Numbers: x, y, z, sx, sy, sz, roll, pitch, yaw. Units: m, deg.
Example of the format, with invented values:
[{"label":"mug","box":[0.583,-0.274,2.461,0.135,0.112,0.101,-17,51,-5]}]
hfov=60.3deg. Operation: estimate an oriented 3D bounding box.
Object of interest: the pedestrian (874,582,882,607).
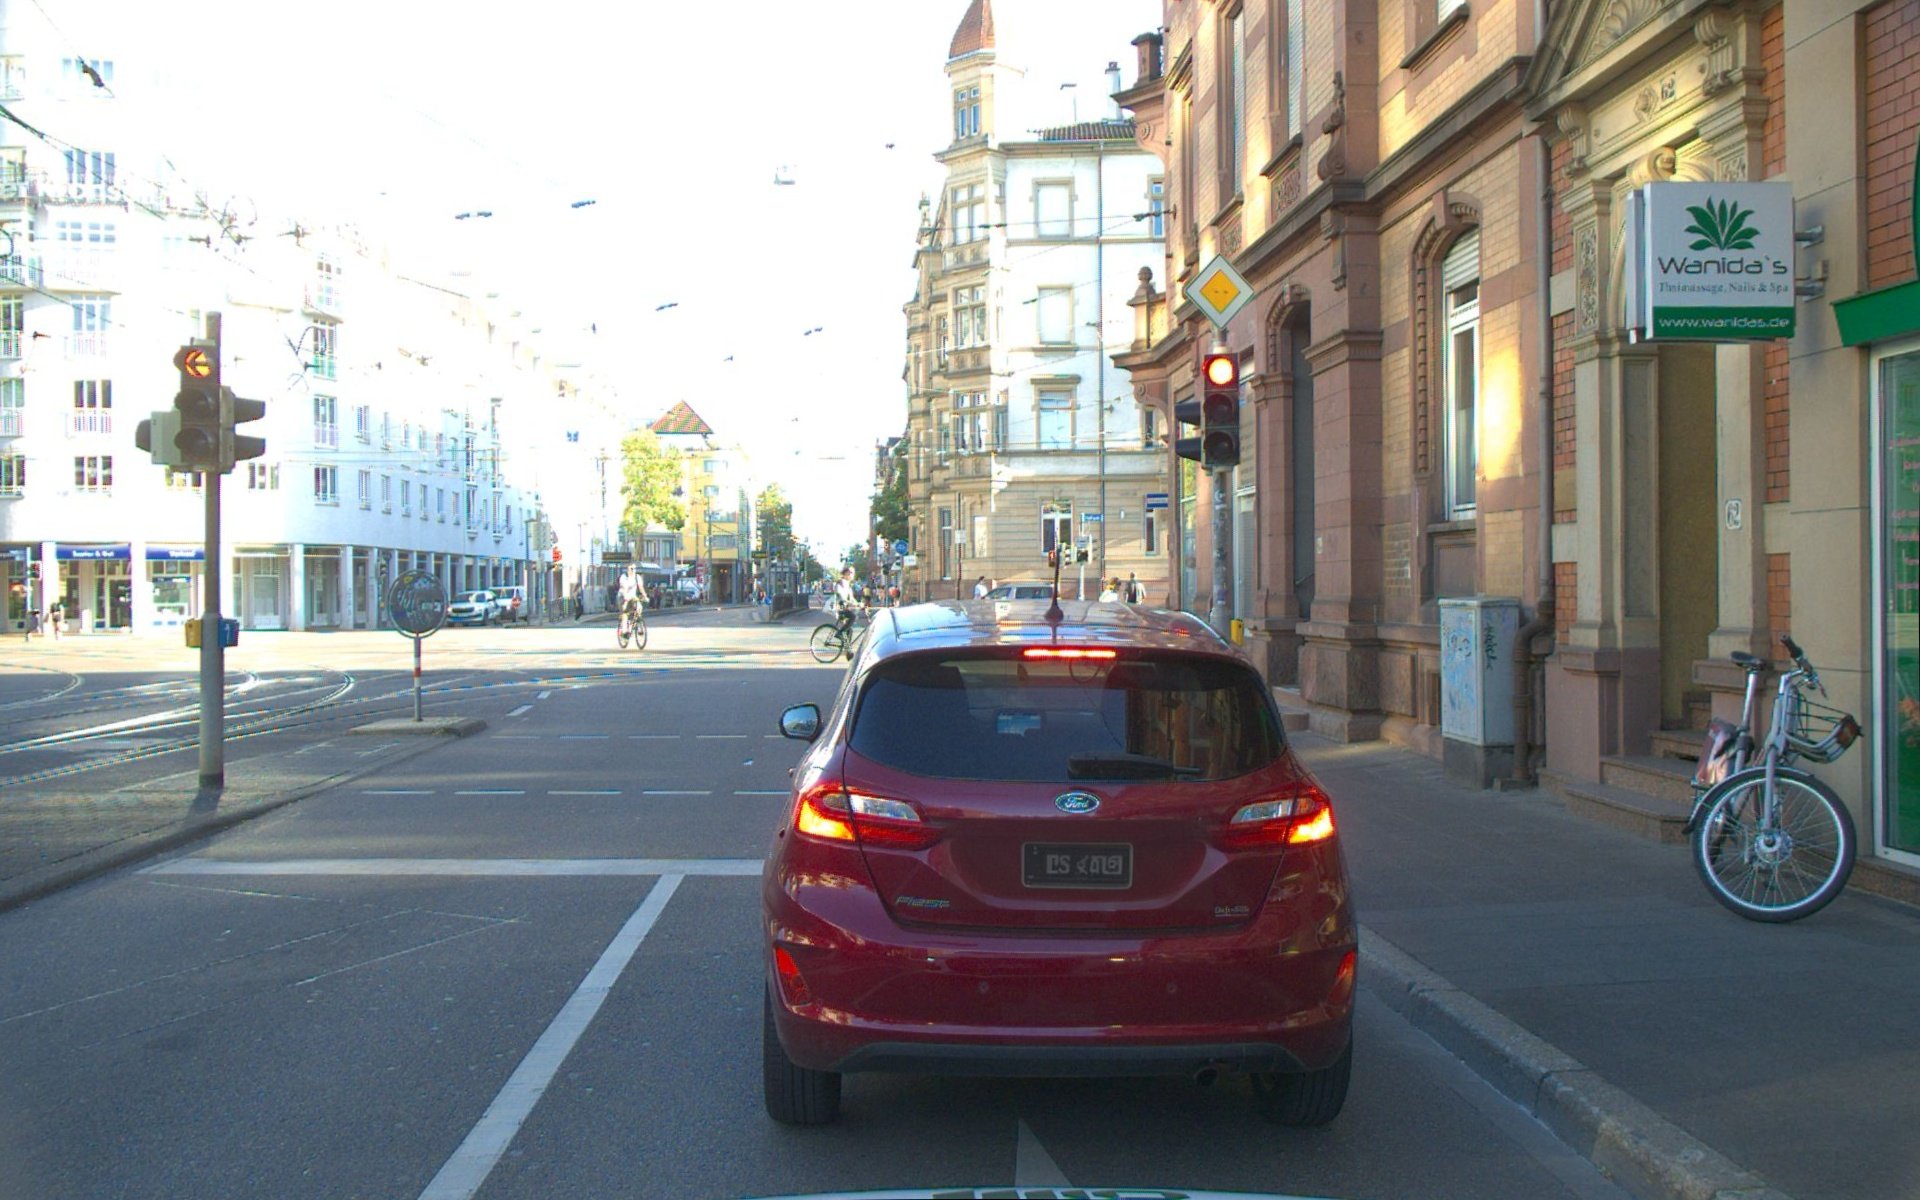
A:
[{"label":"pedestrian","box":[-6.868,-0.478,137.943,0.565,2.049,0.631,-1,0,2]}]

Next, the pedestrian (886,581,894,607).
[{"label":"pedestrian","box":[-5.675,-0.473,133.543,0.565,2.049,0.631,-1,0,2]}]

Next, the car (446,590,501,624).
[{"label":"car","box":[-23.365,0.342,79.494,1.730,1.573,3.459,-1,0,-3]}]

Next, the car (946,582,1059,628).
[{"label":"car","box":[1.519,0.176,58.625,3.813,1.576,1.456,-1,0,9]}]

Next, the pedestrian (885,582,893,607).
[{"label":"pedestrian","box":[-5.947,-0.469,138.144,0.565,2.049,0.631,-1,0,2]}]

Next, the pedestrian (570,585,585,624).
[{"label":"pedestrian","box":[-16.930,0.179,73.204,0.513,1.711,0.486,-1,0,3]}]

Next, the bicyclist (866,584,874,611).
[{"label":"bicyclist","box":[-5.759,-0.154,105.525,0.489,1.705,0.545,-1,0,-2]}]

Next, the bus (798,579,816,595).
[{"label":"bus","box":[-20.058,-1.672,216.860,1.887,2.049,7.134,-1,0,-2]}]

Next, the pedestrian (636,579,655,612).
[{"label":"pedestrian","box":[-19.855,-0.282,104.458,1.025,2.049,0.958,-1,0,-6]}]

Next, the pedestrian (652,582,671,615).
[{"label":"pedestrian","box":[-18.569,-0.107,102.839,1.025,2.049,0.958,-1,0,-6]}]

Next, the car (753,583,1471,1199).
[{"label":"car","box":[0.204,0.707,5.906,1.720,1.492,3.941,1,0,-5]}]

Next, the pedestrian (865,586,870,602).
[{"label":"pedestrian","box":[-11.256,-0.779,200.451,0.565,1.920,0.630,-1,0,-3]}]

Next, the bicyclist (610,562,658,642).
[{"label":"bicyclist","box":[-7.750,0.043,39.309,0.800,1.853,0.982,-1,0,-33]}]

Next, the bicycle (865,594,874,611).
[{"label":"bicycle","box":[-5.755,0.148,105.611,0.515,1.108,1.486,-1,0,-1]}]

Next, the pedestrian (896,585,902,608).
[{"label":"pedestrian","box":[-4.589,-0.268,123.789,0.405,1.710,0.484,-1,0,-1]}]

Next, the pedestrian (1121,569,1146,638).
[{"label":"pedestrian","box":[4.504,0.090,42.954,0.549,1.786,0.650,-1,0,-1]}]

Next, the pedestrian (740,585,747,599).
[{"label":"pedestrian","box":[-25.710,-0.988,196.400,0.619,1.632,0.575,-1,0,-20]}]

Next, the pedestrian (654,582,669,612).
[{"label":"pedestrian","box":[-20.111,-0.214,111.450,0.937,2.049,1.047,-1,0,-6]}]

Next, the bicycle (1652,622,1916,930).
[{"label":"bicycle","box":[3.638,0.721,7.447,0.700,1.172,1.656,-2,0,15]}]

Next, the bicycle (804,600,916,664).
[{"label":"bicycle","box":[-1.883,0.594,31.074,2.006,1.167,0.808,-1,0,32]}]

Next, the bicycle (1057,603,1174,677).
[{"label":"bicycle","box":[2.601,0.662,27.604,2.000,1.198,0.621,1,0,-34]}]

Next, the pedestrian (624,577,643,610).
[{"label":"pedestrian","box":[-20.261,-0.425,102.746,1.025,2.049,0.958,-1,0,-6]}]

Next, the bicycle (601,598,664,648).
[{"label":"bicycle","box":[-7.825,0.536,39.435,0.800,1.167,1.988,-1,0,-32]}]

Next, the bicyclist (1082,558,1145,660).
[{"label":"bicyclist","box":[2.559,0.148,27.548,0.723,1.655,0.757,1,0,-33]}]

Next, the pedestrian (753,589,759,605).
[{"label":"pedestrian","box":[-19.749,-0.326,160.072,0.513,1.514,0.582,-1,0,-2]}]

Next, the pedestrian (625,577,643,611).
[{"label":"pedestrian","box":[-19.770,-0.383,100.299,0.937,2.049,1.048,-1,0,-4]}]

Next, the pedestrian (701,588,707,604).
[{"label":"pedestrian","box":[-25.001,-0.382,161.645,0.569,1.514,0.525,-1,0,-5]}]

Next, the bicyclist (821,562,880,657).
[{"label":"bicyclist","box":[-2.063,0.173,31.176,0.777,1.756,0.808,-1,0,32]}]

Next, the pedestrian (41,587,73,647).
[{"label":"pedestrian","box":[-31.807,0.589,58.239,0.934,2.049,0.930,-1,0,-31]}]

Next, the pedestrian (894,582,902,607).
[{"label":"pedestrian","box":[-5.031,-0.465,134.555,0.565,2.049,0.631,-1,0,2]}]

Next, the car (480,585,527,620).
[{"label":"car","box":[-23.980,0.120,86.976,1.667,1.748,3.561,-1,0,-4]}]

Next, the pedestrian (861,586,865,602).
[{"label":"pedestrian","box":[-11.957,-0.730,203.773,0.565,1.920,0.669,-1,0,-3]}]

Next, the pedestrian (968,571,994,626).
[{"label":"pedestrian","box":[0.789,-0.047,61.631,0.744,2.049,0.651,-1,0,33]}]
